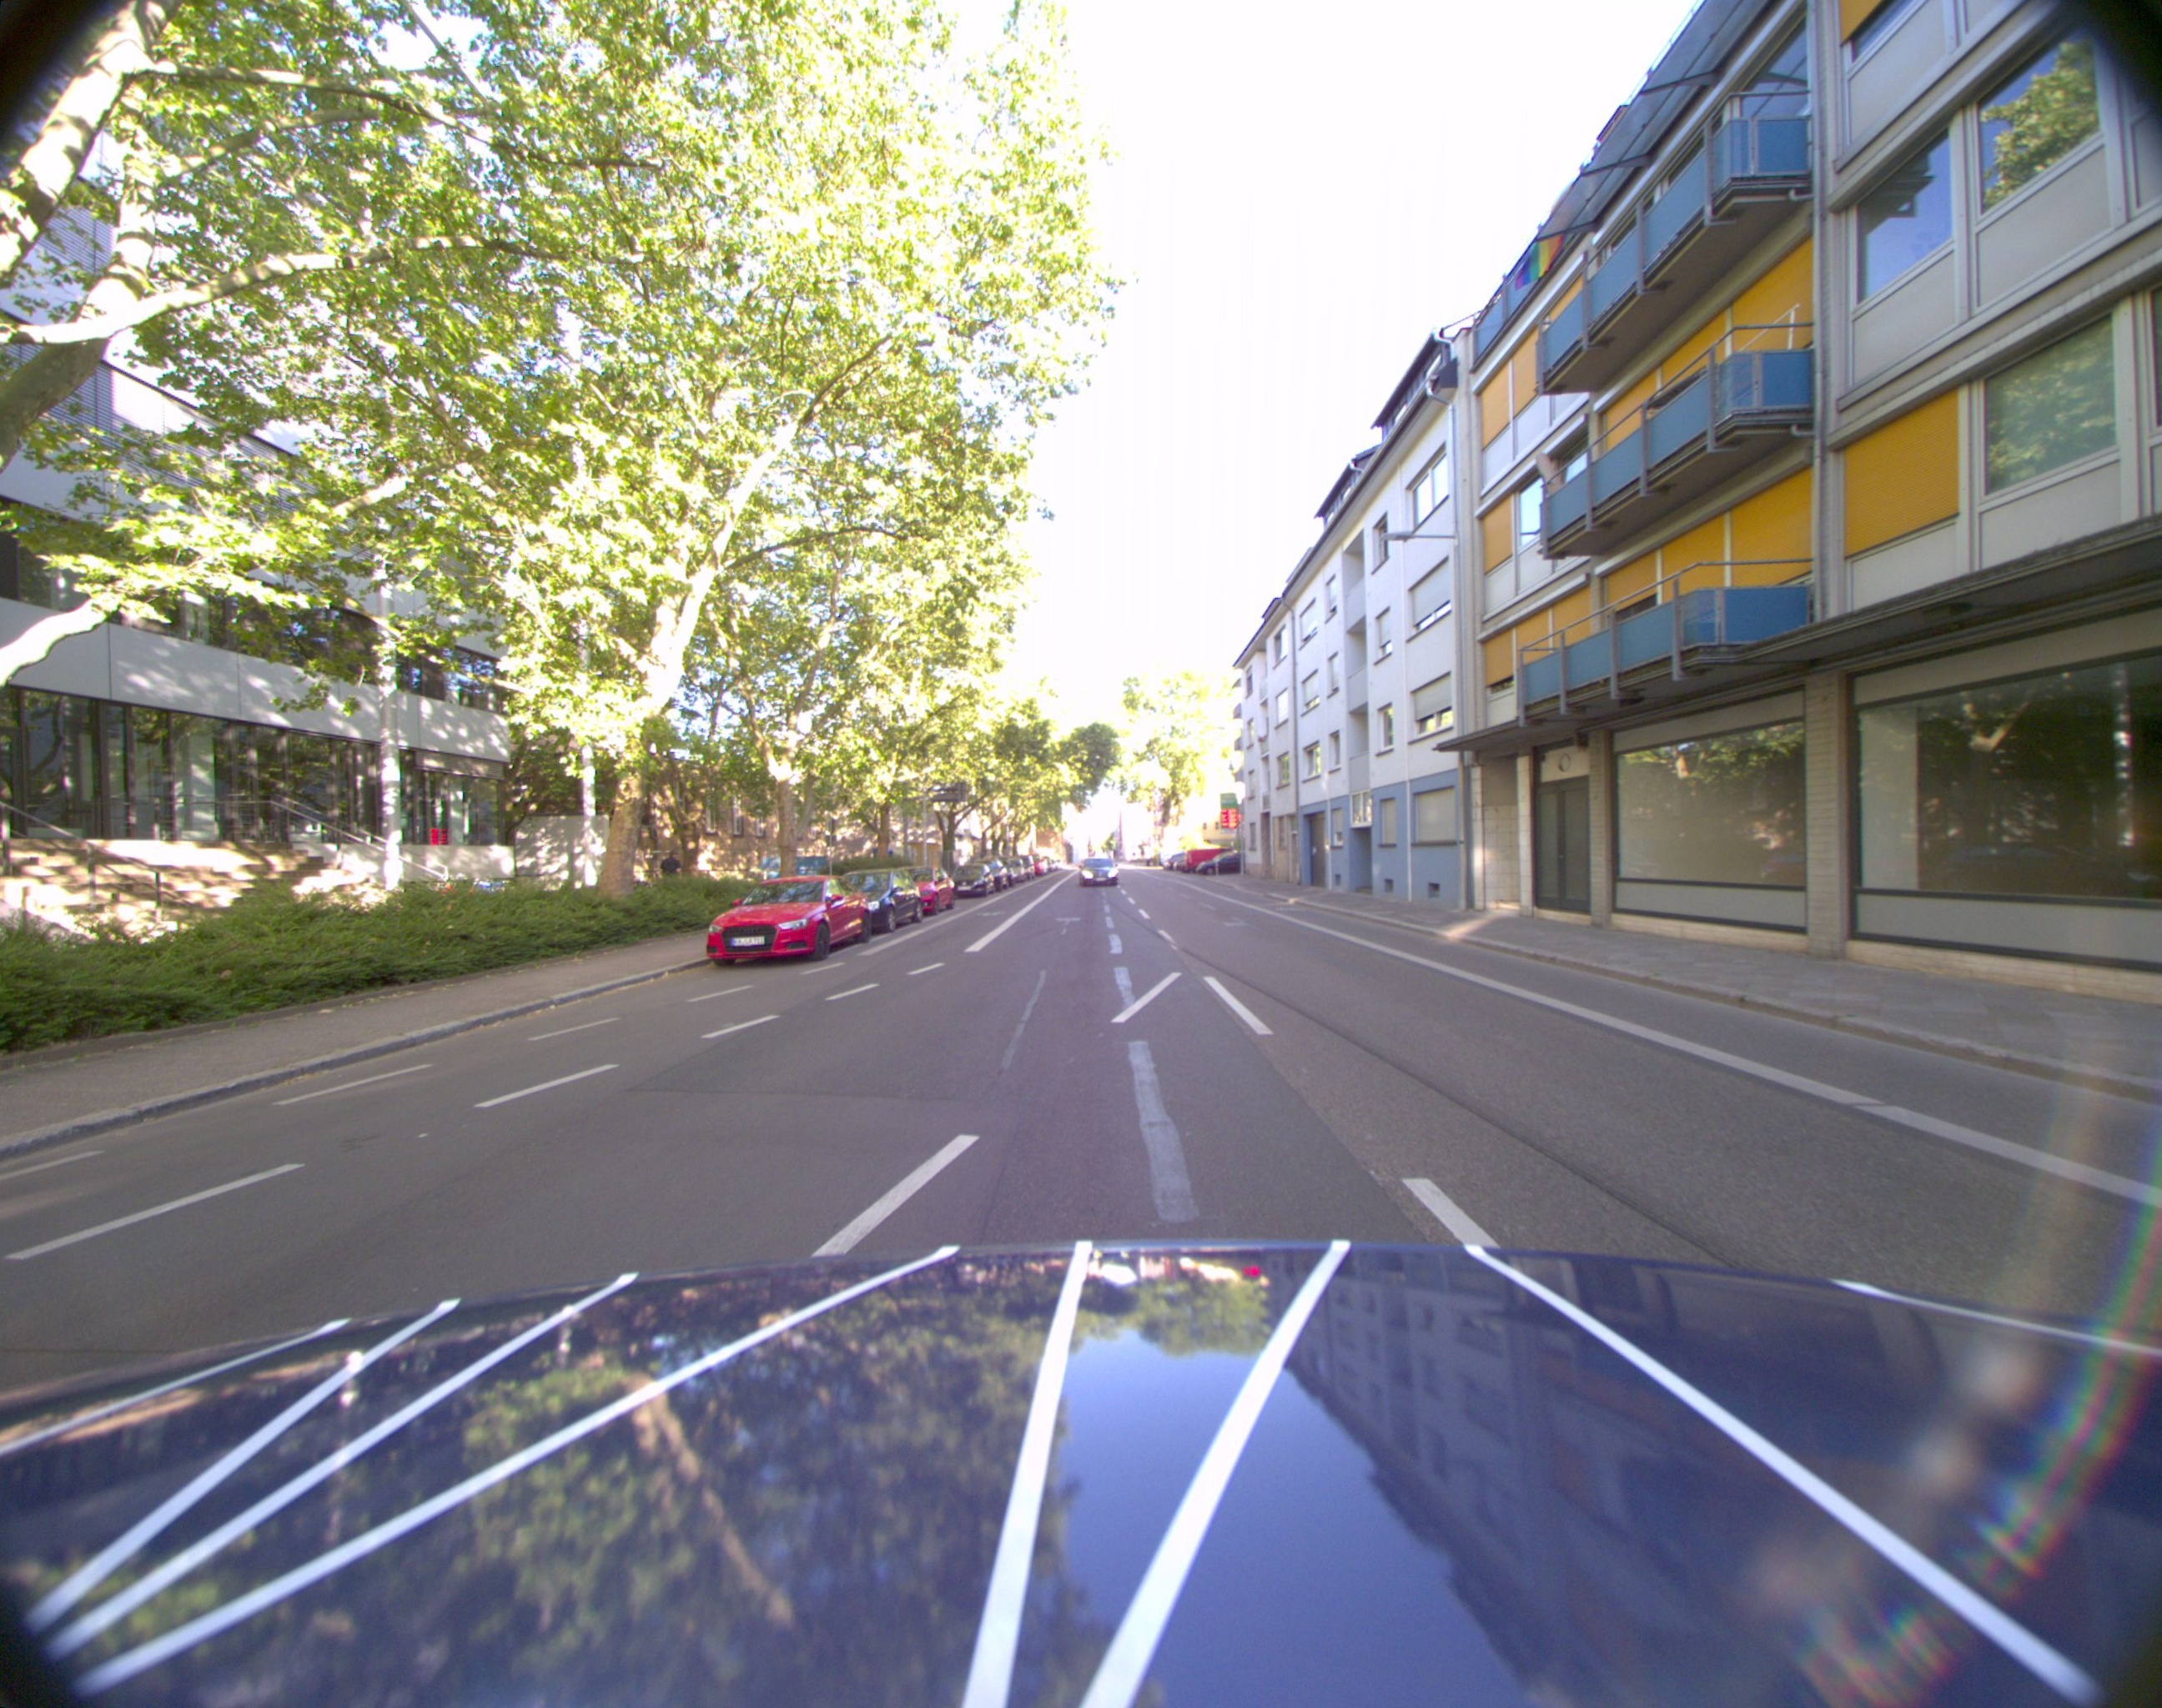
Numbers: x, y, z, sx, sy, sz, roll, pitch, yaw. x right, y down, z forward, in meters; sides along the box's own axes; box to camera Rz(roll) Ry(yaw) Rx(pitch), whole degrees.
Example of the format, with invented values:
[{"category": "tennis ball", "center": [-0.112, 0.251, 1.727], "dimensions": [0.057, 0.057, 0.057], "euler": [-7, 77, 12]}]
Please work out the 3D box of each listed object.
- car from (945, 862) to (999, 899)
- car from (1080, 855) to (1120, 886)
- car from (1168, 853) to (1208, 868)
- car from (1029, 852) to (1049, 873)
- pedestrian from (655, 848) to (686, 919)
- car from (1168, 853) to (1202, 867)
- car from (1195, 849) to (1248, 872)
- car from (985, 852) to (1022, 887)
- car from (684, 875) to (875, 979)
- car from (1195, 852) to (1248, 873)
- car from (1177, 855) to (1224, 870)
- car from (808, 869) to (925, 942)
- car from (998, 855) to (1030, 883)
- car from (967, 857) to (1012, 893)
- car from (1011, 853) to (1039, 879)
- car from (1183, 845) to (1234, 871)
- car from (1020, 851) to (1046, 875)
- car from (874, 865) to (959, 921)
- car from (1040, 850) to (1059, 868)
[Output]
[{"category": "car", "center": [-4.696, 1.109, 33.229], "dimensions": [1.692, 1.414, 3.923], "euler": [-2, 1, 0]}, {"category": "car", "center": [0.918, 0.820, 39.301], "dimensions": [1.753, 1.423, 4.265], "euler": [-2, 0, -2]}, {"category": "car", "center": [10.263, 0.622, 73.022], "dimensions": [3.687, 1.238, 1.345], "euler": [-2, 1, 2]}, {"category": "car", "center": [-3.907, 0.804, 70.995], "dimensions": [1.599, 1.835, 3.769], "euler": [-2, 1, 0]}, {"category": "pedestrian", "center": [-11.900, 0.848, 22.054], "dimensions": [0.552, 2.002, 0.562], "euler": [-2, 1, -11]}, {"category": "car", "center": [10.318, 0.576, 75.460], "dimensions": [3.271, 1.238, 1.345], "euler": [-2, 1, 2]}, {"category": "car", "center": [10.530, 0.479, 57.091], "dimensions": [3.687, 1.503, 1.490], "euler": [-2, 1, 2]}, {"category": "car", "center": [-4.458, 0.851, 44.232], "dimensions": [1.634, 1.781, 4.576], "euler": [-2, 1, 0]}, {"category": "car", "center": [-5.163, 1.177, 13.650], "dimensions": [1.794, 1.384, 3.999], "euler": [-2, 1, 0]}, {"category": "car", "center": [10.087, 0.584, 54.722], "dimensions": [3.508, 1.380, 1.490], "euler": [-2, 1, 2]}, {"category": "car", "center": [9.808, 0.688, 62.581], "dimensions": [3.687, 1.122, 1.345], "euler": [-2, 1, 2]}, {"category": "car", "center": [-5.052, 1.160, 18.403], "dimensions": [1.669, 1.410, 3.697], "euler": [-2, 1, 1]}, {"category": "car", "center": [-4.357, 0.937, 50.104], "dimensions": [1.634, 1.604, 4.576], "euler": [-2, 1, 0]}, {"category": "car", "center": [-4.521, 0.990, 38.099], "dimensions": [1.634, 1.569, 4.231], "euler": [-2, 1, 0]}, {"category": "car", "center": [-4.041, 0.812, 55.232], "dimensions": [1.634, 1.725, 3.769], "euler": [-2, 1, 0]}, {"category": "car", "center": [10.057, 0.315, 59.935], "dimensions": [3.688, 1.897, 1.490], "euler": [-2, -1, -1]}, {"category": "car", "center": [-4.174, 0.720, 66.084], "dimensions": [1.915, 1.940, 3.769], "euler": [-2, 1, 0]}, {"category": "car", "center": [-5.015, 1.130, 23.677], "dimensions": [1.692, 1.441, 3.923], "euler": [-2, 1, 1]}, {"category": "car", "center": [-3.811, 0.583, 92.360], "dimensions": [1.998, 2.002, 4.000], "euler": [-2, 0, 1]}]
